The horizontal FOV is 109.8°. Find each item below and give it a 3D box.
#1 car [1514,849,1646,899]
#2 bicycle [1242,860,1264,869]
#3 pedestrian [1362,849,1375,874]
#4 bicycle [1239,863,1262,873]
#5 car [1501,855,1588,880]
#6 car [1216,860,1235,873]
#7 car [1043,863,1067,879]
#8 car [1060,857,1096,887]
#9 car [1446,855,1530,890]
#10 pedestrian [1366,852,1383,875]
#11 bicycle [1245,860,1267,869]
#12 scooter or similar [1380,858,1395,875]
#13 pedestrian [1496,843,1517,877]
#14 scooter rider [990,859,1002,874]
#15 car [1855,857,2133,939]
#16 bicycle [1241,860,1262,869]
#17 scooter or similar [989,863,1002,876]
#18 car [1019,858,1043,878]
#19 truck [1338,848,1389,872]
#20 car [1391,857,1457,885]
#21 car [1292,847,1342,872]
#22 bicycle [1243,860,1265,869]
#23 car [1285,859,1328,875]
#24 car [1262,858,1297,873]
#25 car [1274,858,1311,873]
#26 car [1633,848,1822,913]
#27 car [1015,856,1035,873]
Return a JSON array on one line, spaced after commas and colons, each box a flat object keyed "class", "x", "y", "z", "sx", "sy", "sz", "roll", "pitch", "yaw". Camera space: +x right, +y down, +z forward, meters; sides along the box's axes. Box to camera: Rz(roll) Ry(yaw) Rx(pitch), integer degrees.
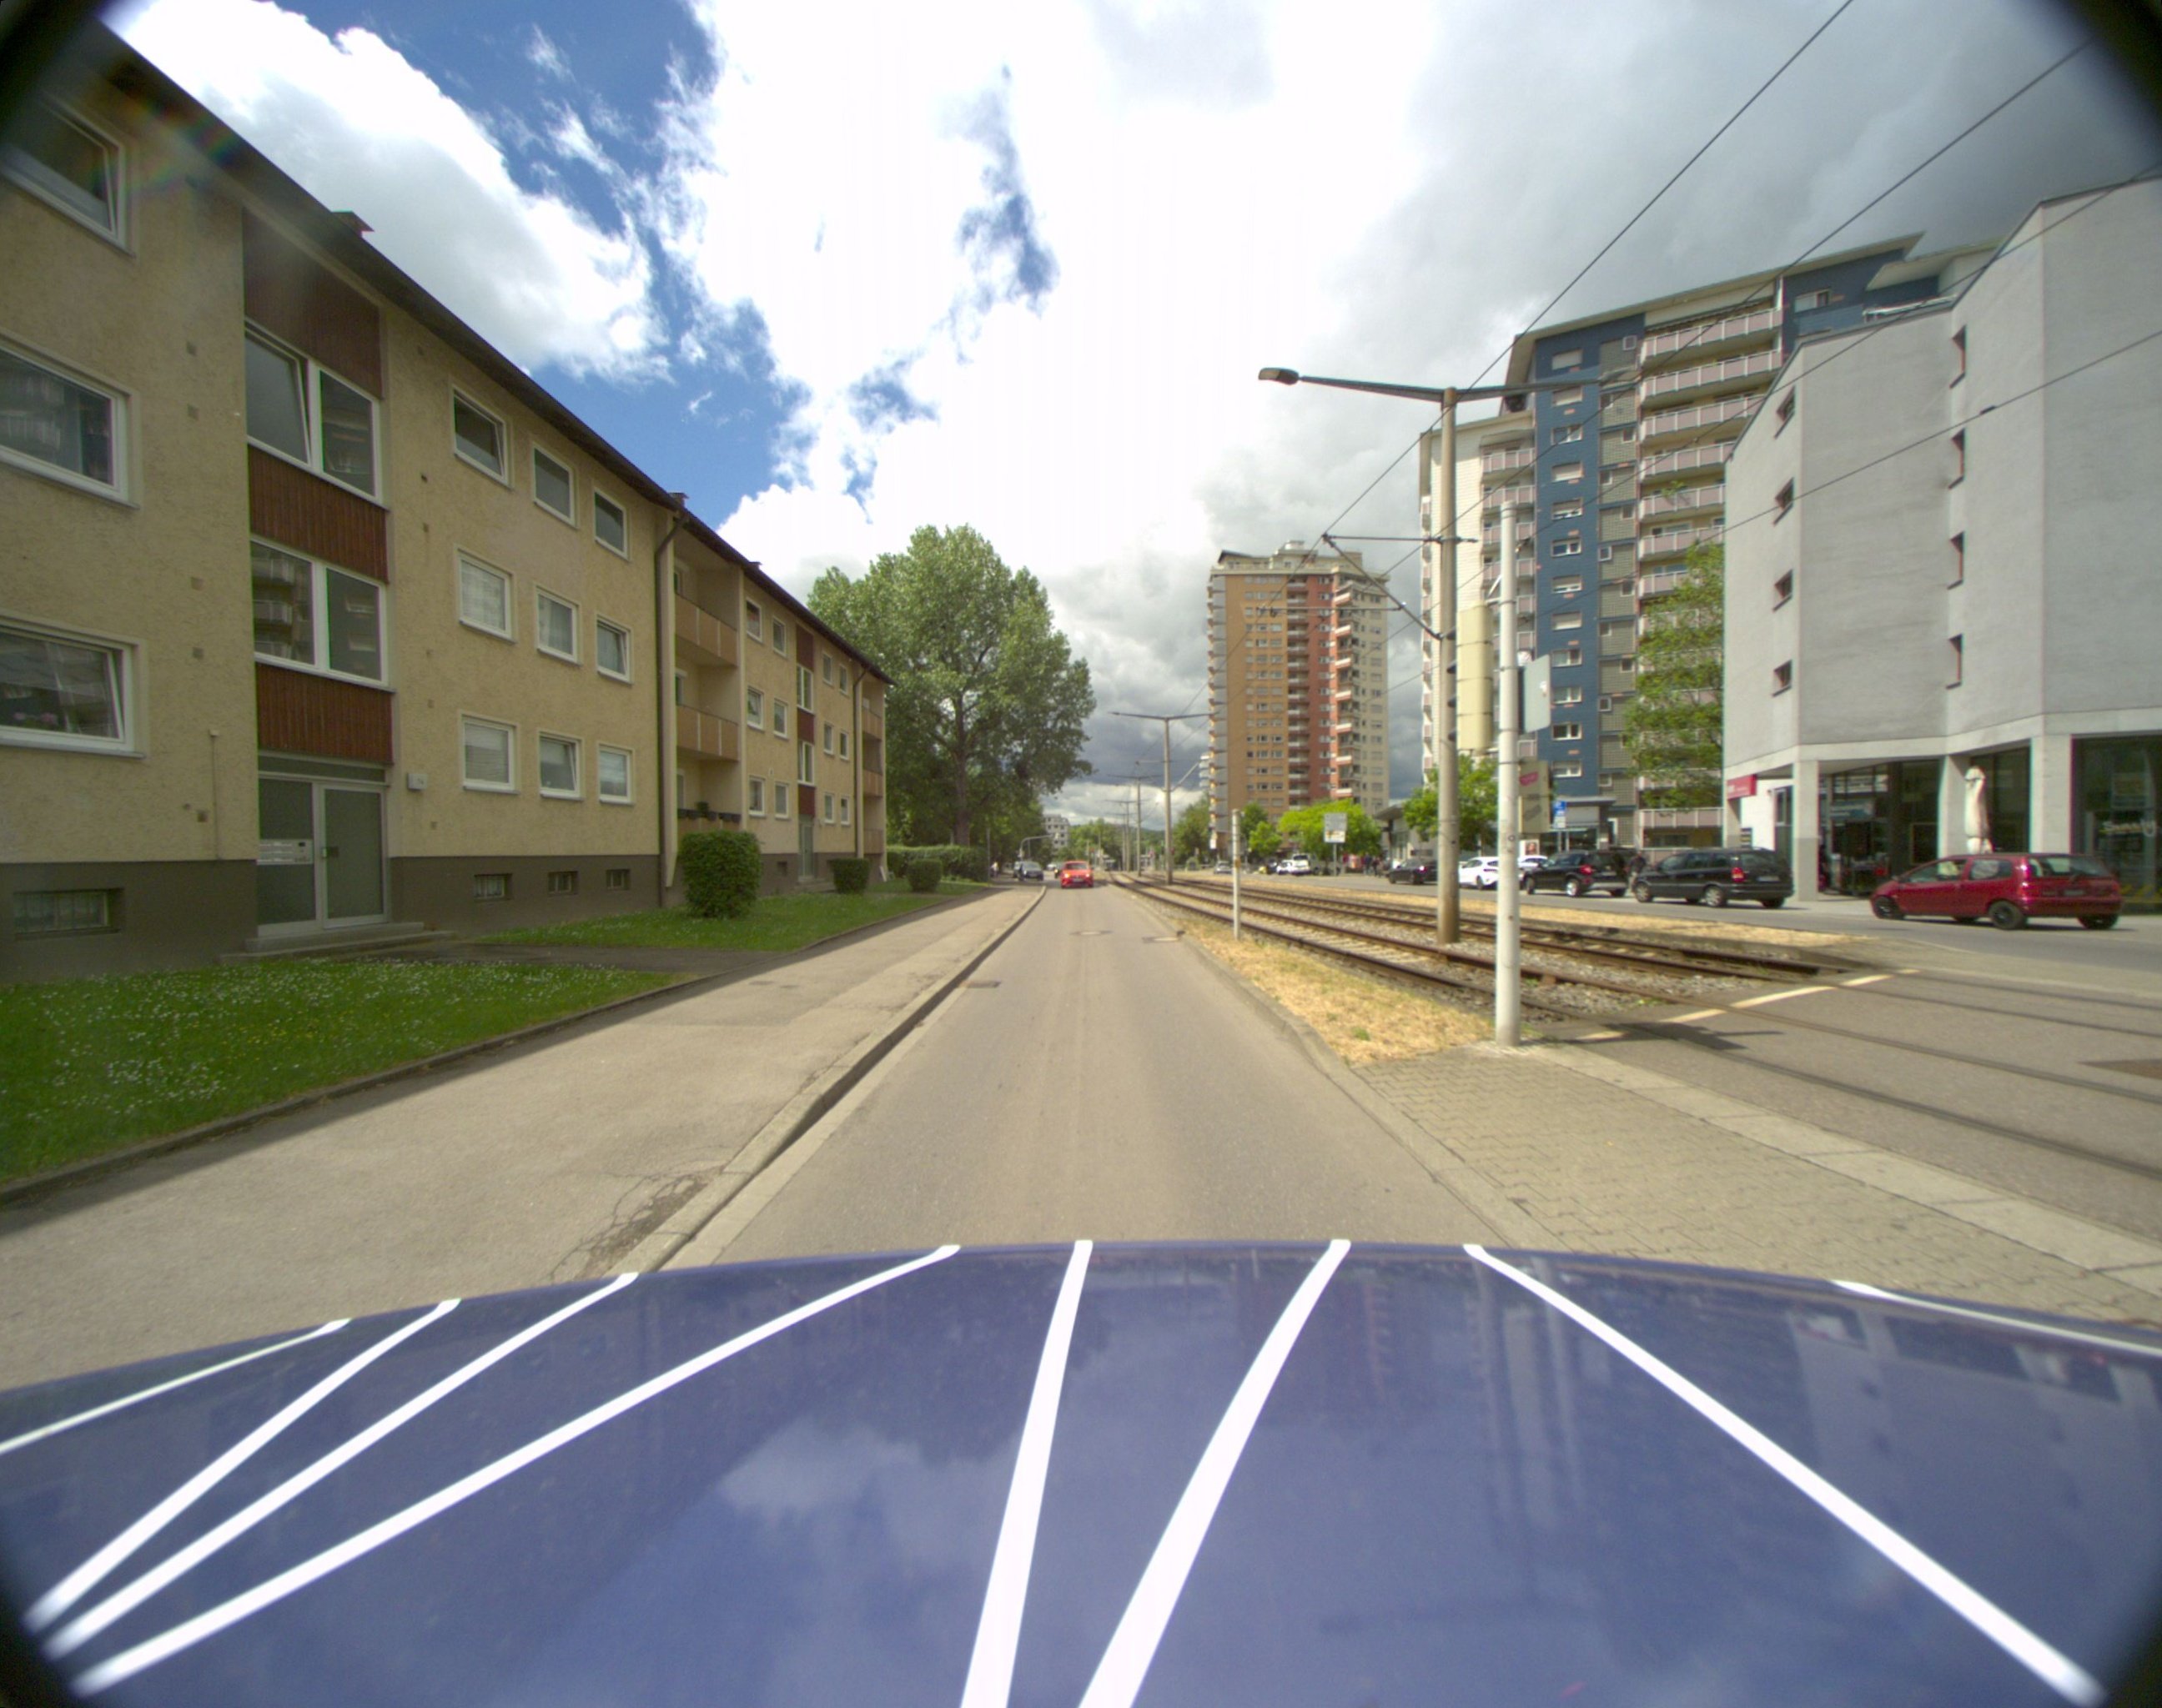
[{"class": "car", "x": 18.065, "y": 0.696, "z": 27.748, "sx": 1.999, "sy": 1.652, "sz": 4.099, "roll": -1, "pitch": -1, "yaw": -2}, {"class": "bicycle", "x": 20.540, "y": 1.295, "z": 90.704, "sx": 2.433, "sy": 1.059, "sz": 0.705, "roll": 0, "pitch": 0, "yaw": 1}, {"class": "pedestrian", "x": 21.211, "y": 0.558, "z": 56.033, "sx": 0.842, "sy": 1.782, "sz": 0.875, "roll": 0, "pitch": 0, "yaw": 15}, {"class": "bicycle", "x": 19.444, "y": 1.612, "z": 87.184, "sx": 2.433, "sy": 1.028, "sz": 0.717, "roll": -2, "pitch": 0, "yaw": 1}, {"class": "car", "x": 28.252, "y": 0.804, "z": 46.365, "sx": 4.343, "sy": 1.434, "sz": 2.005, "roll": 0, "pitch": -1, "yaw": 36}, {"class": "car", "x": 17.233, "y": 1.541, "z": 90.984, "sx": 1.822, "sy": 1.523, "sz": 3.756, "roll": 0, "pitch": -1, "yaw": 4}, {"class": "car", "x": -2.261, "y": 1.478, "z": 66.916, "sx": 1.998, "sy": 1.280, "sz": 4.000, "roll": 0, "pitch": -1, "yaw": 0}, {"class": "car", "x": -0.217, "y": 0.943, "z": 41.278, "sx": 1.819, "sy": 1.483, "sz": 3.999, "roll": -1, "pitch": 0, "yaw": -2}, {"class": "car", "x": 18.235, "y": 0.824, "z": 34.264, "sx": 1.758, "sy": 1.466, "sz": 4.402, "roll": 0, "pitch": -1, "yaw": 6}, {"class": "pedestrian", "x": 20.089, "y": 0.648, "z": 52.006, "sx": 0.983, "sy": 1.562, "sz": 0.516, "roll": 0, "pitch": -2, "yaw": 45}, {"class": "bicycle", "x": 20.513, "y": 1.272, "z": 89.196, "sx": 2.433, "sy": 1.059, "sz": 0.705, "roll": 0, "pitch": 0, "yaw": 1}, {"class": "scooter or similar", "x": 20.707, "y": 0.858, "z": 51.371, "sx": 0.582, "sy": 1.117, "sz": 0.767, "roll": 4, "pitch": -3, "yaw": -44}, {"class": "pedestrian", "x": 22.738, "y": 0.327, "z": 40.605, "sx": 0.613, "sy": 1.782, "sz": 0.843, "roll": 0, "pitch": 0, "yaw": 0}, {"class": "scooter rider", "x": -6.961, "y": 1.011, "z": 62.030, "sx": 0.887, "sy": 1.213, "sz": 1.282, "roll": 0, "pitch": -1, "yaw": -3}, {"class": "car", "x": 17.783, "y": 0.790, "z": 15.066, "sx": 1.616, "sy": 1.418, "sz": 3.425, "roll": 0, "pitch": -1, "yaw": 7}, {"class": "bicycle", "x": 20.573, "y": 1.302, "z": 91.618, "sx": 2.433, "sy": 1.059, "sz": 0.705, "roll": 0, "pitch": 0, "yaw": 1}, {"class": "scooter or similar", "x": -6.958, "y": 1.270, "z": 61.971, "sx": 0.892, "sy": 1.058, "sz": 2.114, "roll": 0, "pitch": -1, "yaw": -2}, {"class": "car", "x": -3.847, "y": 1.075, "z": 58.753, "sx": 1.820, "sy": 1.440, "sz": 3.825, "roll": 1, "pitch": -1, "yaw": -4}, {"class": "truck", "x": 43.831, "y": 0.889, "z": 118.041, "sx": 7.090, "sy": 3.652, "sz": 2.548, "roll": 0, "pitch": 0, "yaw": 7}, {"class": "car", "x": 18.501, "y": 0.899, "z": 41.156, "sx": 1.738, "sy": 1.420, "sz": 4.381, "roll": -1, "pitch": 0, "yaw": 3}, {"class": "car", "x": 20.277, "y": 0.496, "z": 65.198, "sx": 4.772, "sy": 2.144, "sz": 1.901, "roll": 1, "pitch": -1, "yaw": -41}, {"class": "bicycle", "x": 20.525, "y": 1.283, "z": 89.944, "sx": 2.433, "sy": 1.059, "sz": 0.705, "roll": 0, "pitch": 0, "yaw": 1}, {"class": "car", "x": 20.838, "y": 1.197, "z": 70.139, "sx": 4.009, "sy": 1.375, "sz": 1.901, "roll": 1, "pitch": -1, "yaw": -41}, {"class": "car", "x": 21.111, "y": 1.228, "z": 80.742, "sx": 1.927, "sy": 1.582, "sz": 4.009, "roll": 0, "pitch": -1, "yaw": 44}, {"class": "car", "x": 21.255, "y": 1.182, "z": 76.237, "sx": 3.774, "sy": 1.487, "sz": 1.742, "roll": 1, "pitch": -1, "yaw": -39}, {"class": "car", "x": 18.091, "y": 0.710, "z": 21.568, "sx": 1.998, "sy": 1.638, "sz": 4.101, "roll": 0, "pitch": -1, "yaw": 3}, {"class": "car", "x": -5.428, "y": 1.049, "z": 73.059, "sx": 1.789, "sy": 1.556, "sz": 4.568, "roll": 1, "pitch": -1, "yaw": -5}]
